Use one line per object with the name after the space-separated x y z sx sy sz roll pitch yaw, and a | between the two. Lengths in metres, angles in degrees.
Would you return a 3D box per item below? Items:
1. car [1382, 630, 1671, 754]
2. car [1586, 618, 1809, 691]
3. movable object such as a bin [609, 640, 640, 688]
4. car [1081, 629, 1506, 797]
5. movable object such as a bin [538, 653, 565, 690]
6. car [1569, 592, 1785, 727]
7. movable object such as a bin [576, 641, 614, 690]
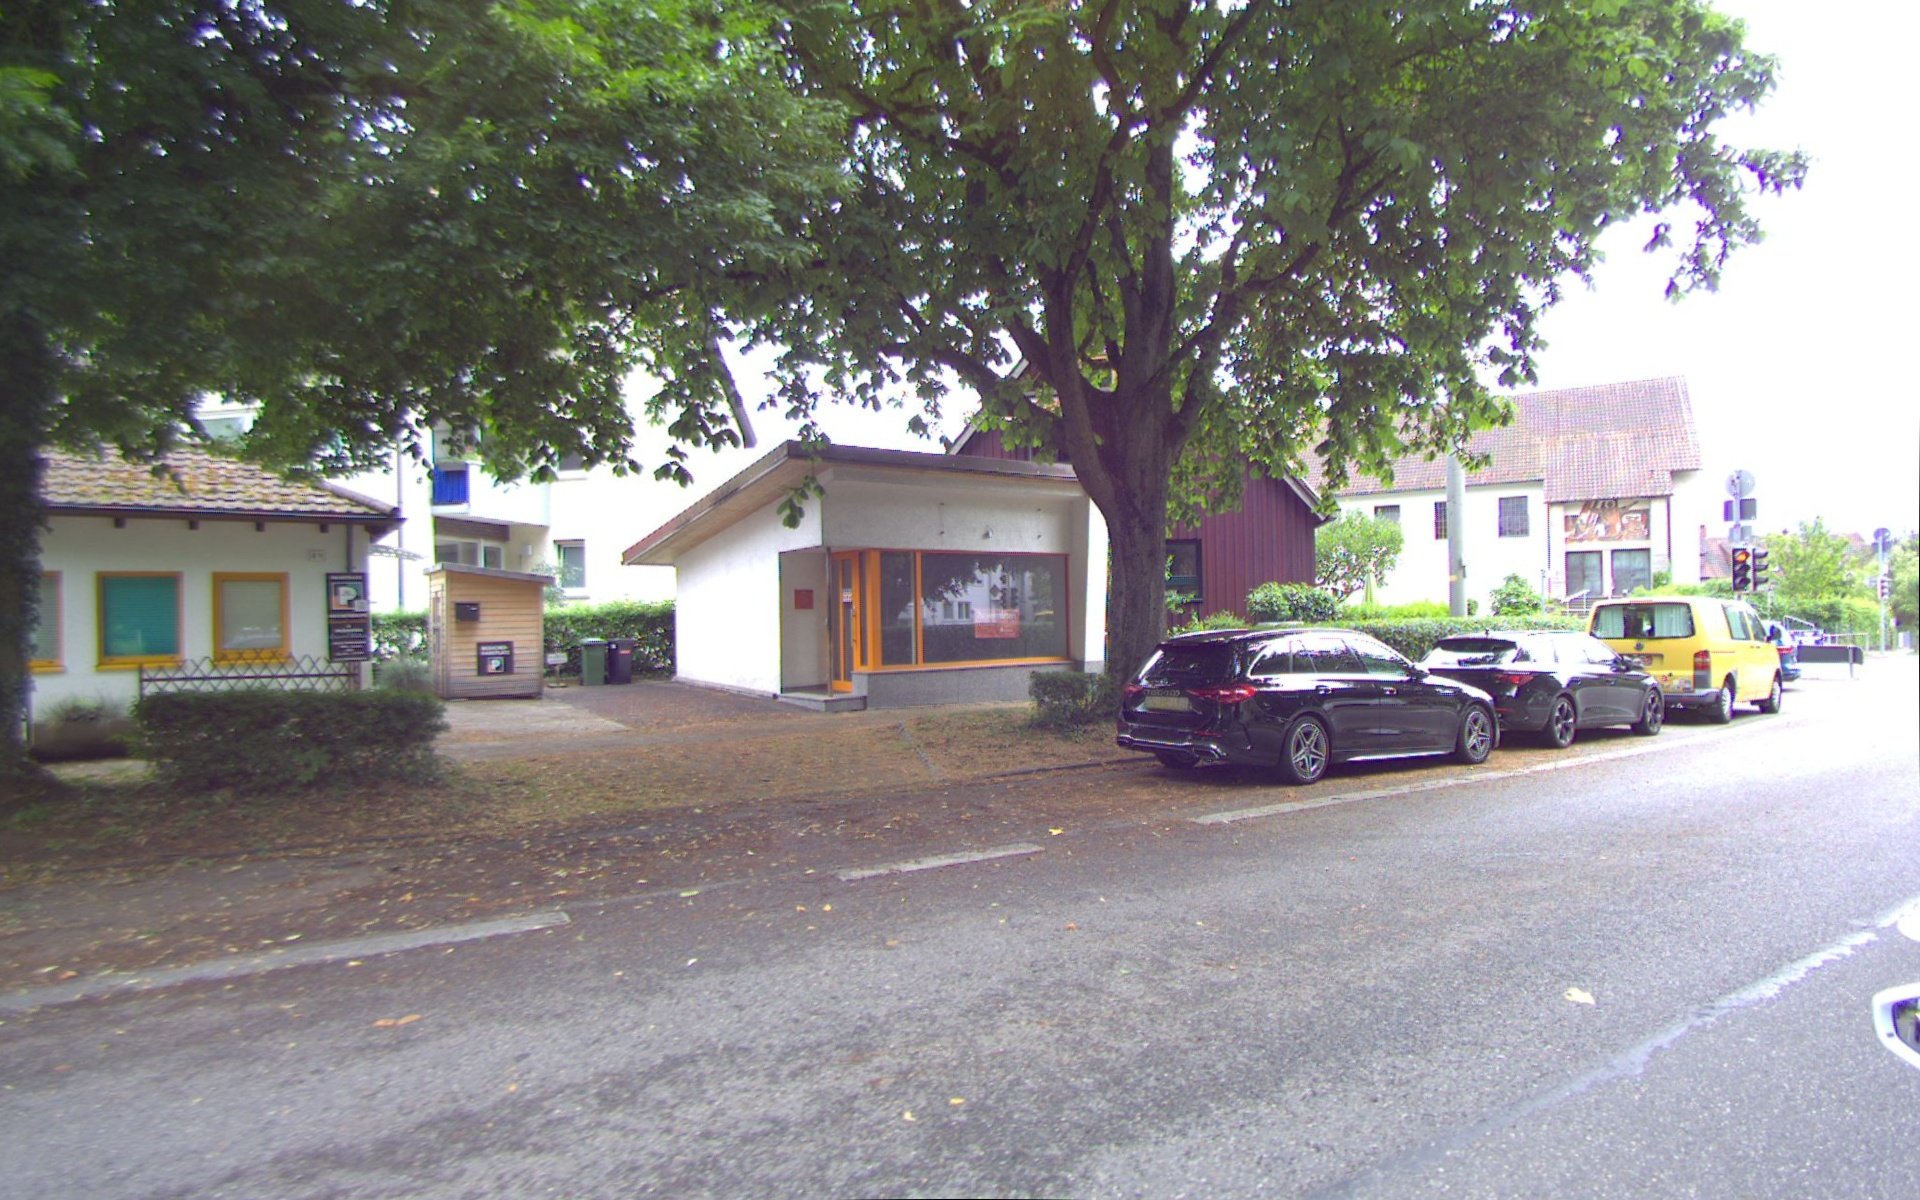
7.753 1.139 13.634 4.147 1.434 1.783 1 -3 -35 | car
17.519 1.241 24.007 1.784 1.530 3.956 -1 0 -38 | car
-6.826 1.296 20.427 0.483 0.942 0.520 0 0 -34 | movable object such as a bin
3.607 1.043 10.601 4.505 1.429 1.881 1 -3 -33 | car
-8.060 1.408 19.822 0.424 0.705 0.385 0 0 -34 | movable object such as a bin
12.220 0.928 17.018 4.466 1.989 1.843 1 -2 -39 | car
-7.309 1.297 20.125 0.612 0.942 0.520 0 0 -35 | movable object such as a bin
